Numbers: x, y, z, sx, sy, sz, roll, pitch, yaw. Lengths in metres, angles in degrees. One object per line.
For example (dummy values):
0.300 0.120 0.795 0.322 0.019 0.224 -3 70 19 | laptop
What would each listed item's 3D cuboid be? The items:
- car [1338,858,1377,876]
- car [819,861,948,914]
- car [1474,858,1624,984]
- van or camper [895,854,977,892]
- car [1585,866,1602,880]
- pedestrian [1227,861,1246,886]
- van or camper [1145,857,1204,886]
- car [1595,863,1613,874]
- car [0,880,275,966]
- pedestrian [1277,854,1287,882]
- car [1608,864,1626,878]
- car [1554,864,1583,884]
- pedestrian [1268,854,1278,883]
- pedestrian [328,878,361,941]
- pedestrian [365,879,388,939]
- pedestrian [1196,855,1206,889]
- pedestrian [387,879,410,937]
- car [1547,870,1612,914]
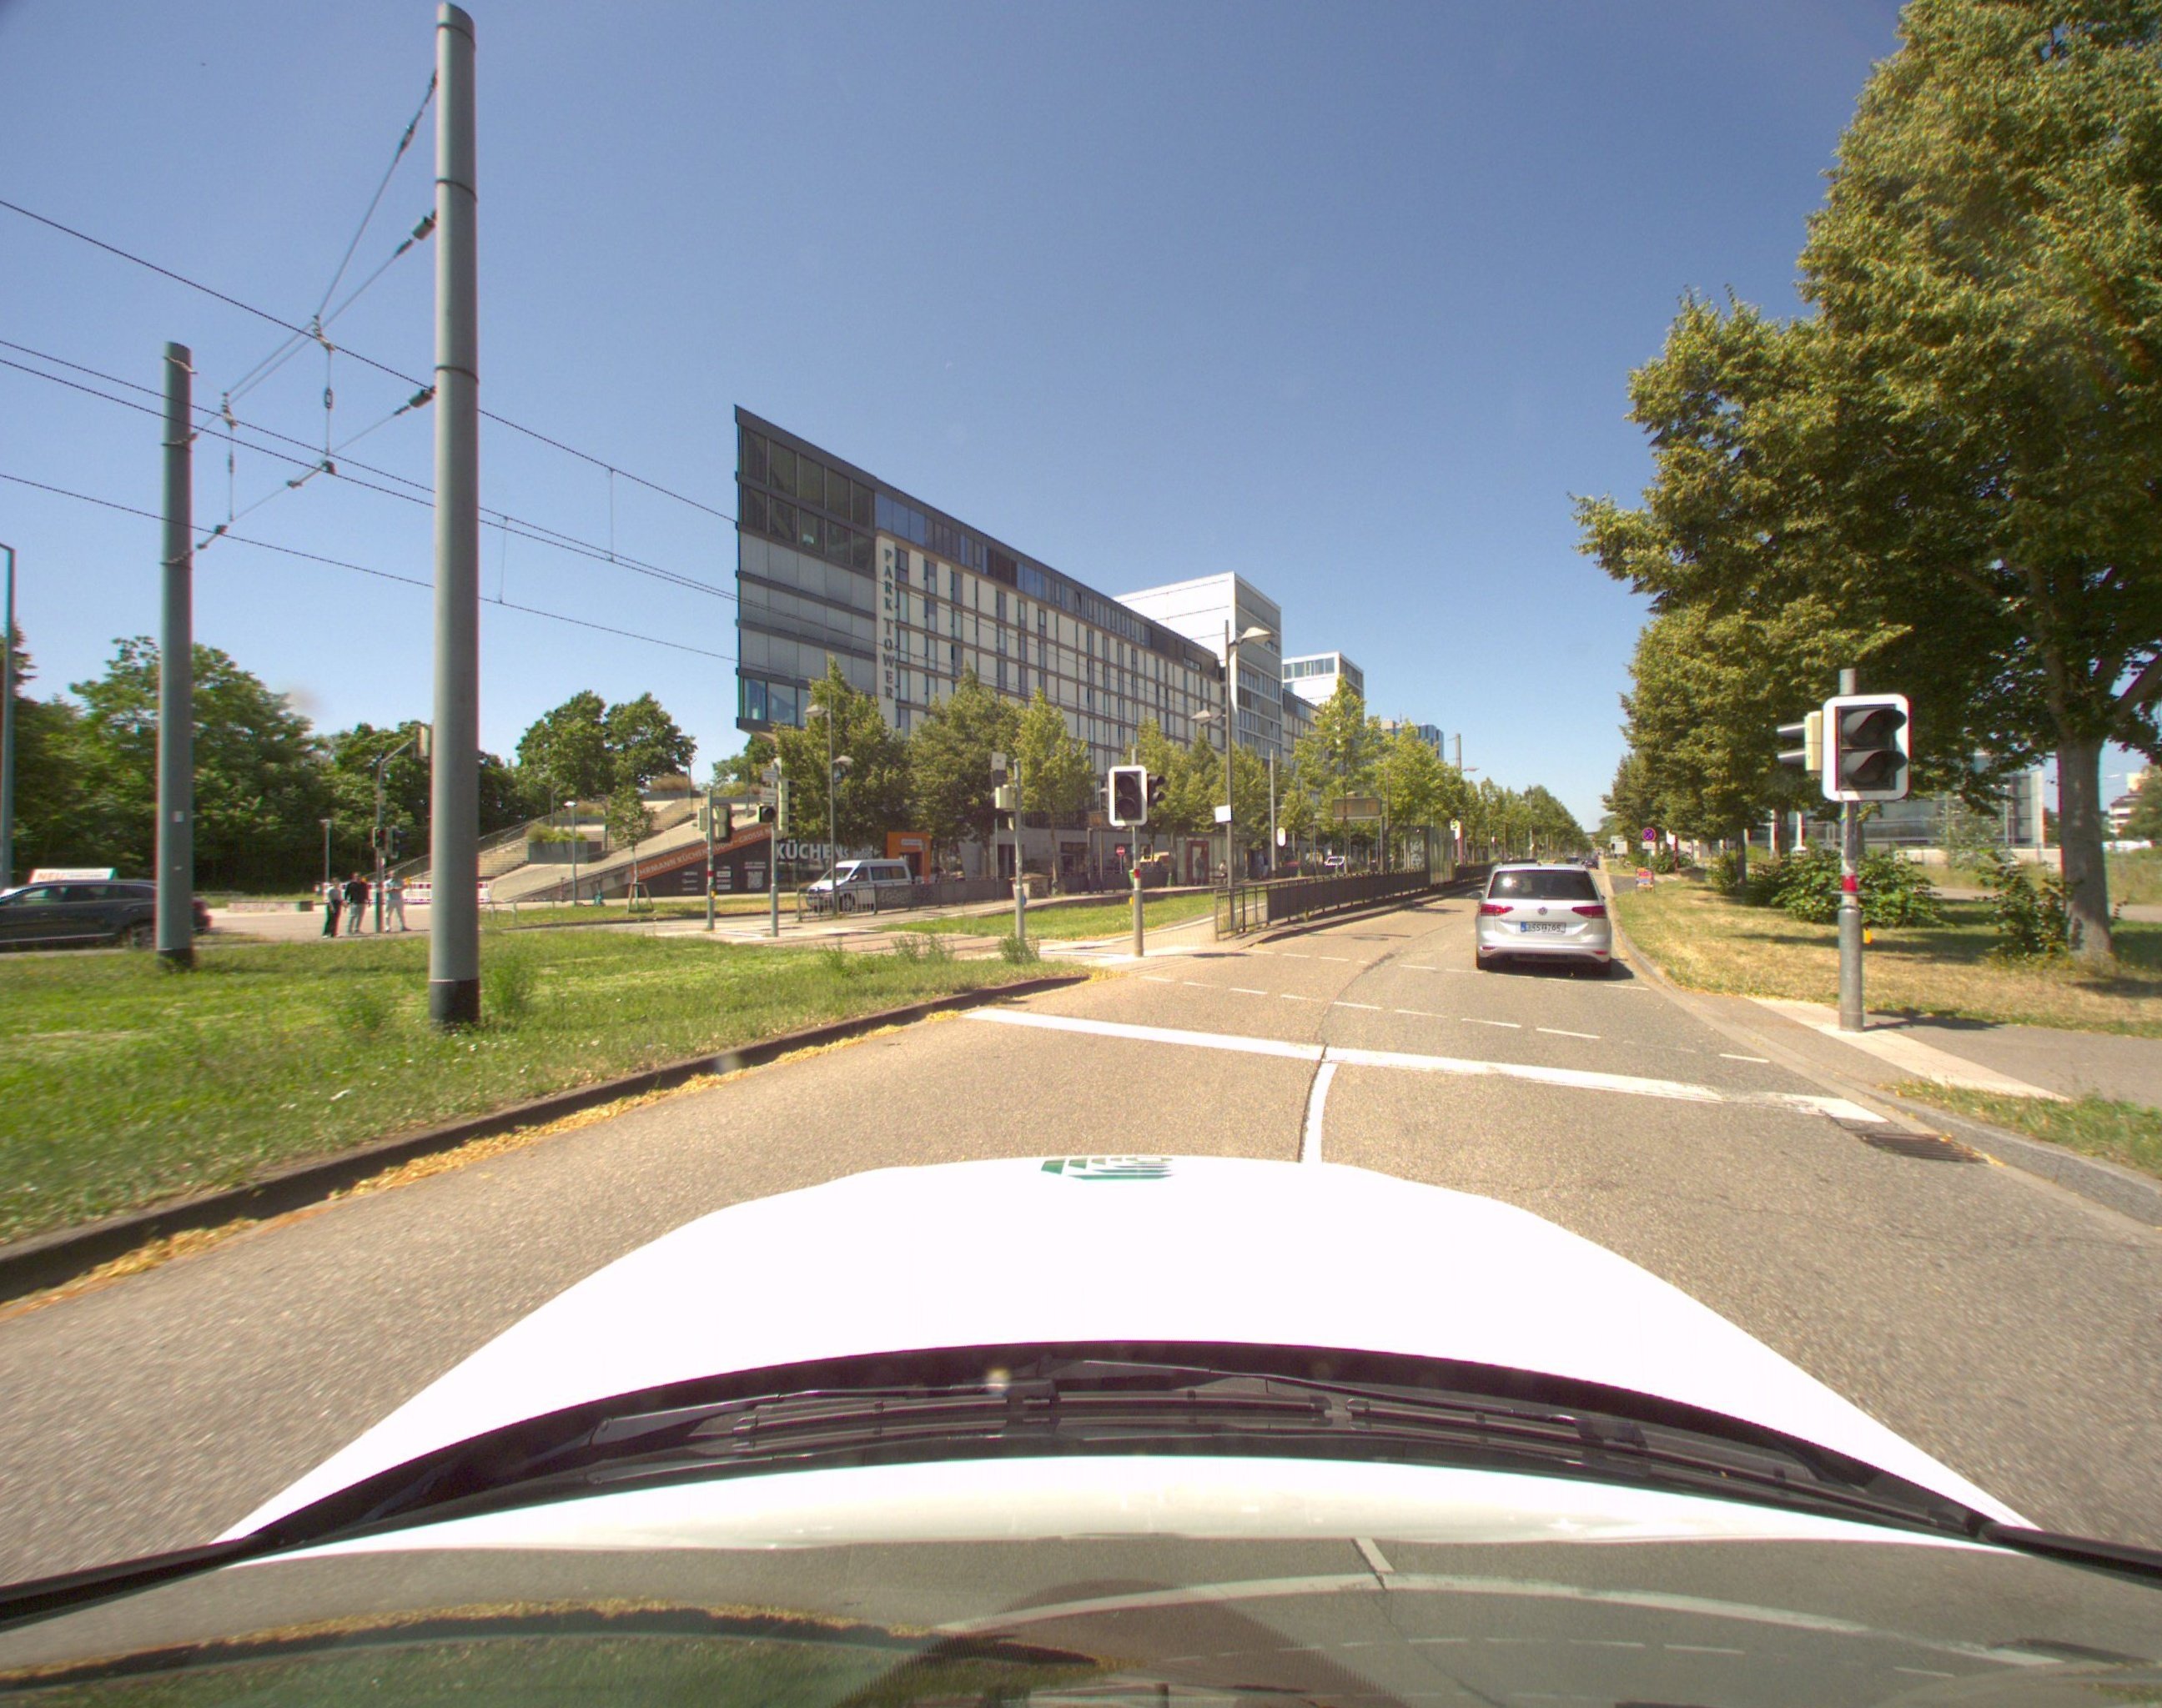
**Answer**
28.656 1.300 84.288 2.438 1.806 5.102 -1 -1 34 | car
-8.472 1.392 35.485 1.974 2.106 5.577 -1 -1 35 | car
7.417 0.928 13.242 1.784 1.649 4.631 1 -1 26 | car
-11.176 1.449 63.380 2.352 2.822 6.829 -1 -1 31 | van or camper
63.790 2.341 101.421 1.749 1.627 3.739 -1 -1 32 | car
8.895 1.104 46.618 0.826 1.413 0.646 -1 -2 33 | pedestrian
8.151 1.457 70.522 2.156 2.386 6.814 -1 -1 34 | van or camper
75.890 2.117 118.207 1.844 1.464 4.024 -2 -3 30 | car
-20.155 1.320 16.134 1.975 1.518 5.871 -2 -2 43 | car
12.567 0.874 50.922 0.405 1.752 0.589 -1 -1 31 | pedestrian
65.577 2.108 99.698 1.749 1.627 3.739 -1 -1 32 | car
36.013 1.470 60.130 1.603 1.451 4.011 -2 -2 34 | car
11.918 0.889 50.464 0.405 1.752 0.589 -1 -1 31 | pedestrian
-20.722 1.560 22.918 0.337 1.739 0.604 -1 -2 33 | pedestrian
-20.814 1.607 24.065 0.287 1.739 0.452 -1 -2 33 | pedestrian
6.230 0.945 42.301 0.463 1.739 0.479 -1 -1 5 | pedestrian
-20.578 1.622 24.545 0.287 1.739 0.452 -1 -2 33 | pedestrian
18.448 1.336 30.036 1.834 1.436 4.986 -1 -1 33 | car
